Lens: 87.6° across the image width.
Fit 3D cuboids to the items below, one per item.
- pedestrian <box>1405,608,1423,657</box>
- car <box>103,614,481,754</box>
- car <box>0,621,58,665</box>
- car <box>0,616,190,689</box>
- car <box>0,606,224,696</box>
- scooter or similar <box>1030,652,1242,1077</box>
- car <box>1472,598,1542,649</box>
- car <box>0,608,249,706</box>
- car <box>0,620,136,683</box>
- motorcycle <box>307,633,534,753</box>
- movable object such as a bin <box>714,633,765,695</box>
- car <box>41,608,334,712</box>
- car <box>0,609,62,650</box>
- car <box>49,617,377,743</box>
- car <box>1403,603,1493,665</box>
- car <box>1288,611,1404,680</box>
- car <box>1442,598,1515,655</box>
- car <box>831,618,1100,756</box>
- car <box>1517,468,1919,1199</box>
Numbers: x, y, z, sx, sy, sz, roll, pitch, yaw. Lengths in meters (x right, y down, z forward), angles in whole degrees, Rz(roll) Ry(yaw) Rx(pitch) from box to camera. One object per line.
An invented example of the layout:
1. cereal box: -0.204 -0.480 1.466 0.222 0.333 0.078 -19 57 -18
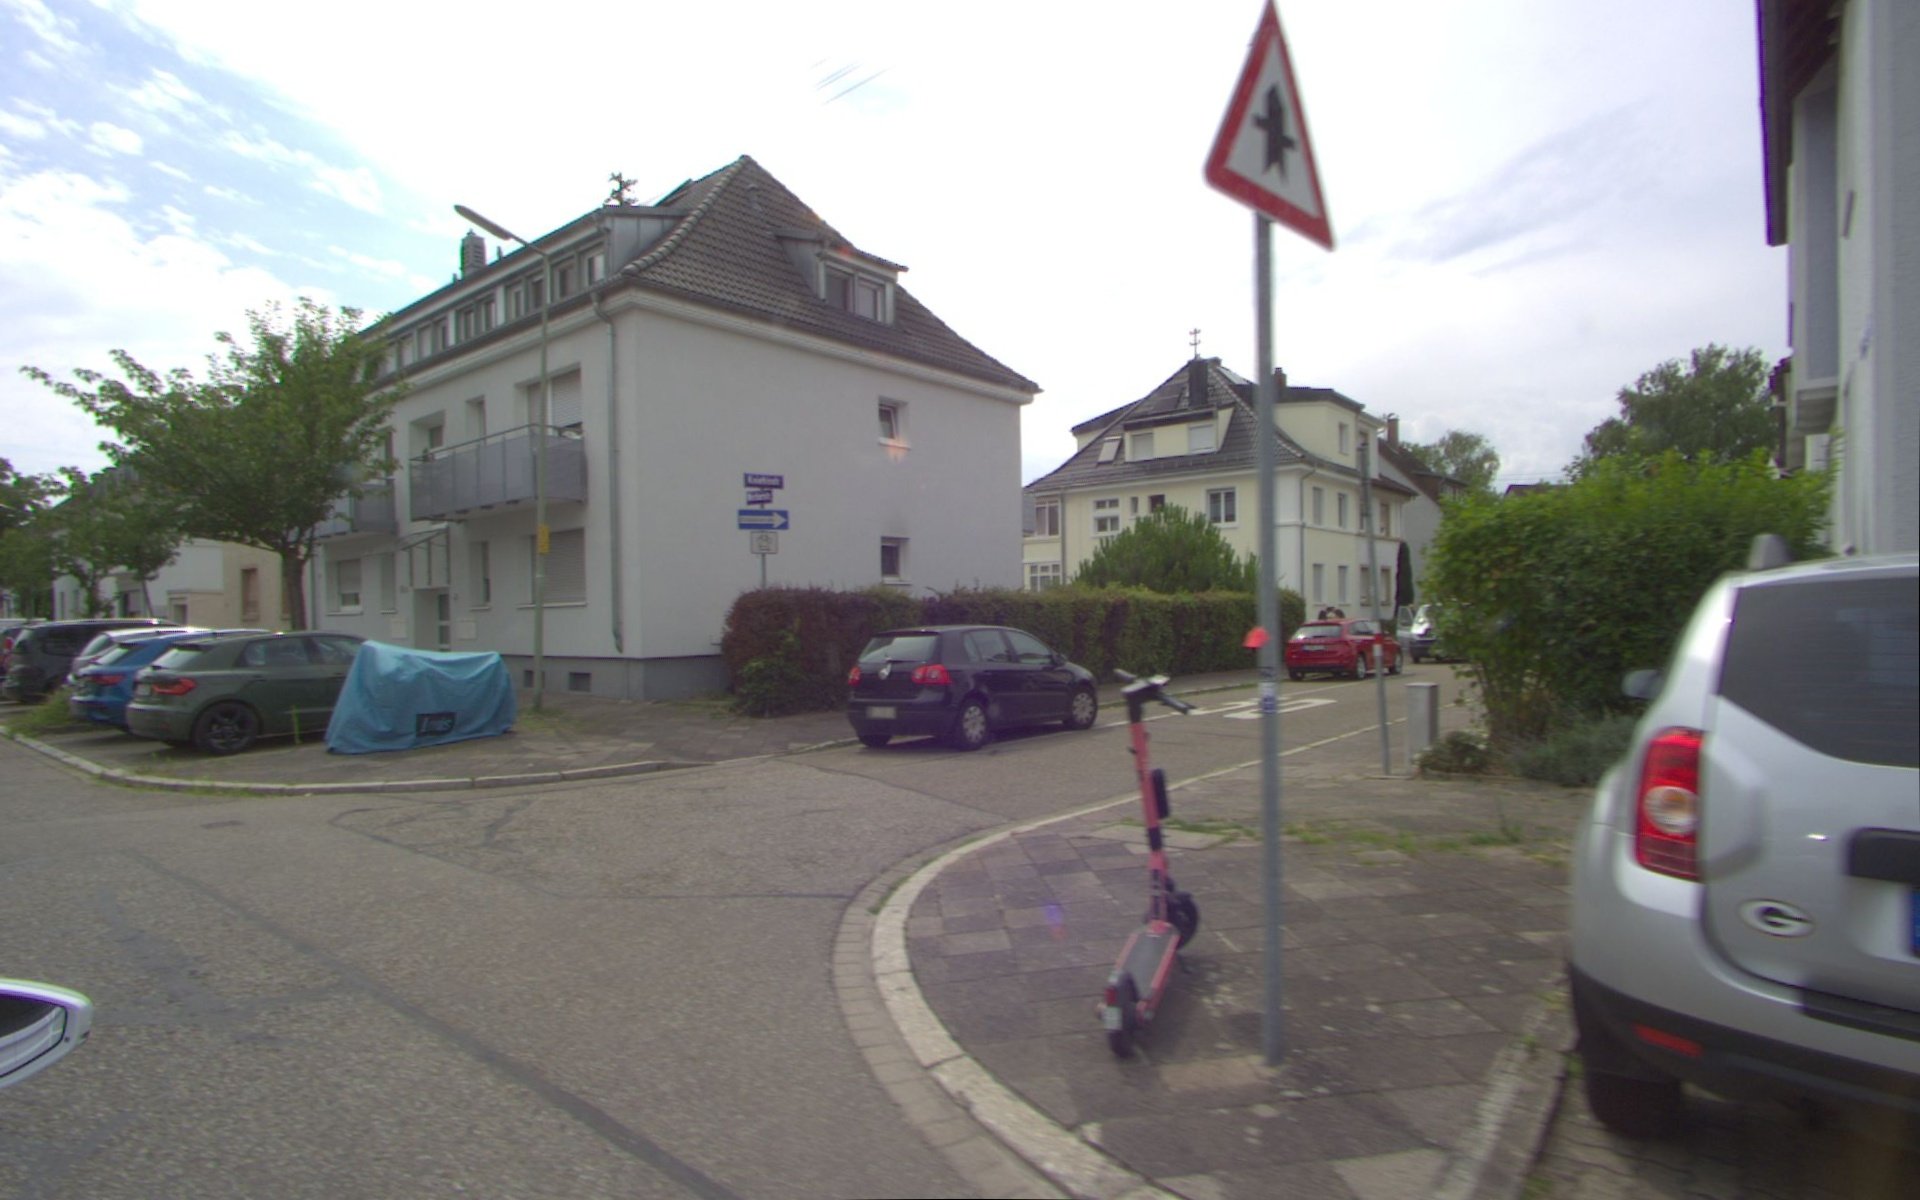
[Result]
1. pedestrian: 16.386 1.164 36.140 0.551 1.741 0.612 -1 0 29
2. car: -8.537 0.965 13.036 1.753 1.384 3.728 -1 1 41
3. car: -36.763 1.677 37.655 1.702 1.539 3.967 -1 1 40
4. car: -21.788 1.248 24.831 1.702 1.539 3.967 -1 1 40
5. car: -18.573 1.041 21.630 1.846 1.640 3.966 -1 1 41
6. scooter or similar: 0.720 0.875 3.816 0.415 1.260 1.237 -1 2 27
7. car: 21.334 0.880 38.998 1.734 1.849 4.264 -1 0 38
8. car: -16.318 1.027 19.477 1.753 1.585 3.728 -1 1 41
9. car: -24.593 1.368 26.559 1.702 1.458 3.967 -1 1 40
10. motorcycle: -6.332 1.036 11.866 0.928 1.226 2.184 -1 0 38
11. movable object such as a bin: -3.749 1.074 17.007 0.691 1.021 0.517 -1 0 38
12. car: -14.084 1.006 18.439 1.702 1.539 3.967 -1 1 40
13. car: -38.618 1.235 39.171 1.747 1.539 4.953 -1 1 38
14. car: -10.656 1.043 14.471 1.540 1.431 3.500 -1 1 40
15. car: 15.641 1.063 32.012 1.785 1.817 3.787 -4 -3 38
16. car: 9.584 1.056 24.720 1.643 1.537 3.787 -1 0 38
17. car: 18.431 0.900 35.530 1.643 1.929 3.787 -1 0 38
18. car: 0.218 1.000 13.018 1.641 1.462 3.791 -1 0 35
19. car: 3.208 0.580 3.208 1.845 1.654 3.907 -1 0 39
